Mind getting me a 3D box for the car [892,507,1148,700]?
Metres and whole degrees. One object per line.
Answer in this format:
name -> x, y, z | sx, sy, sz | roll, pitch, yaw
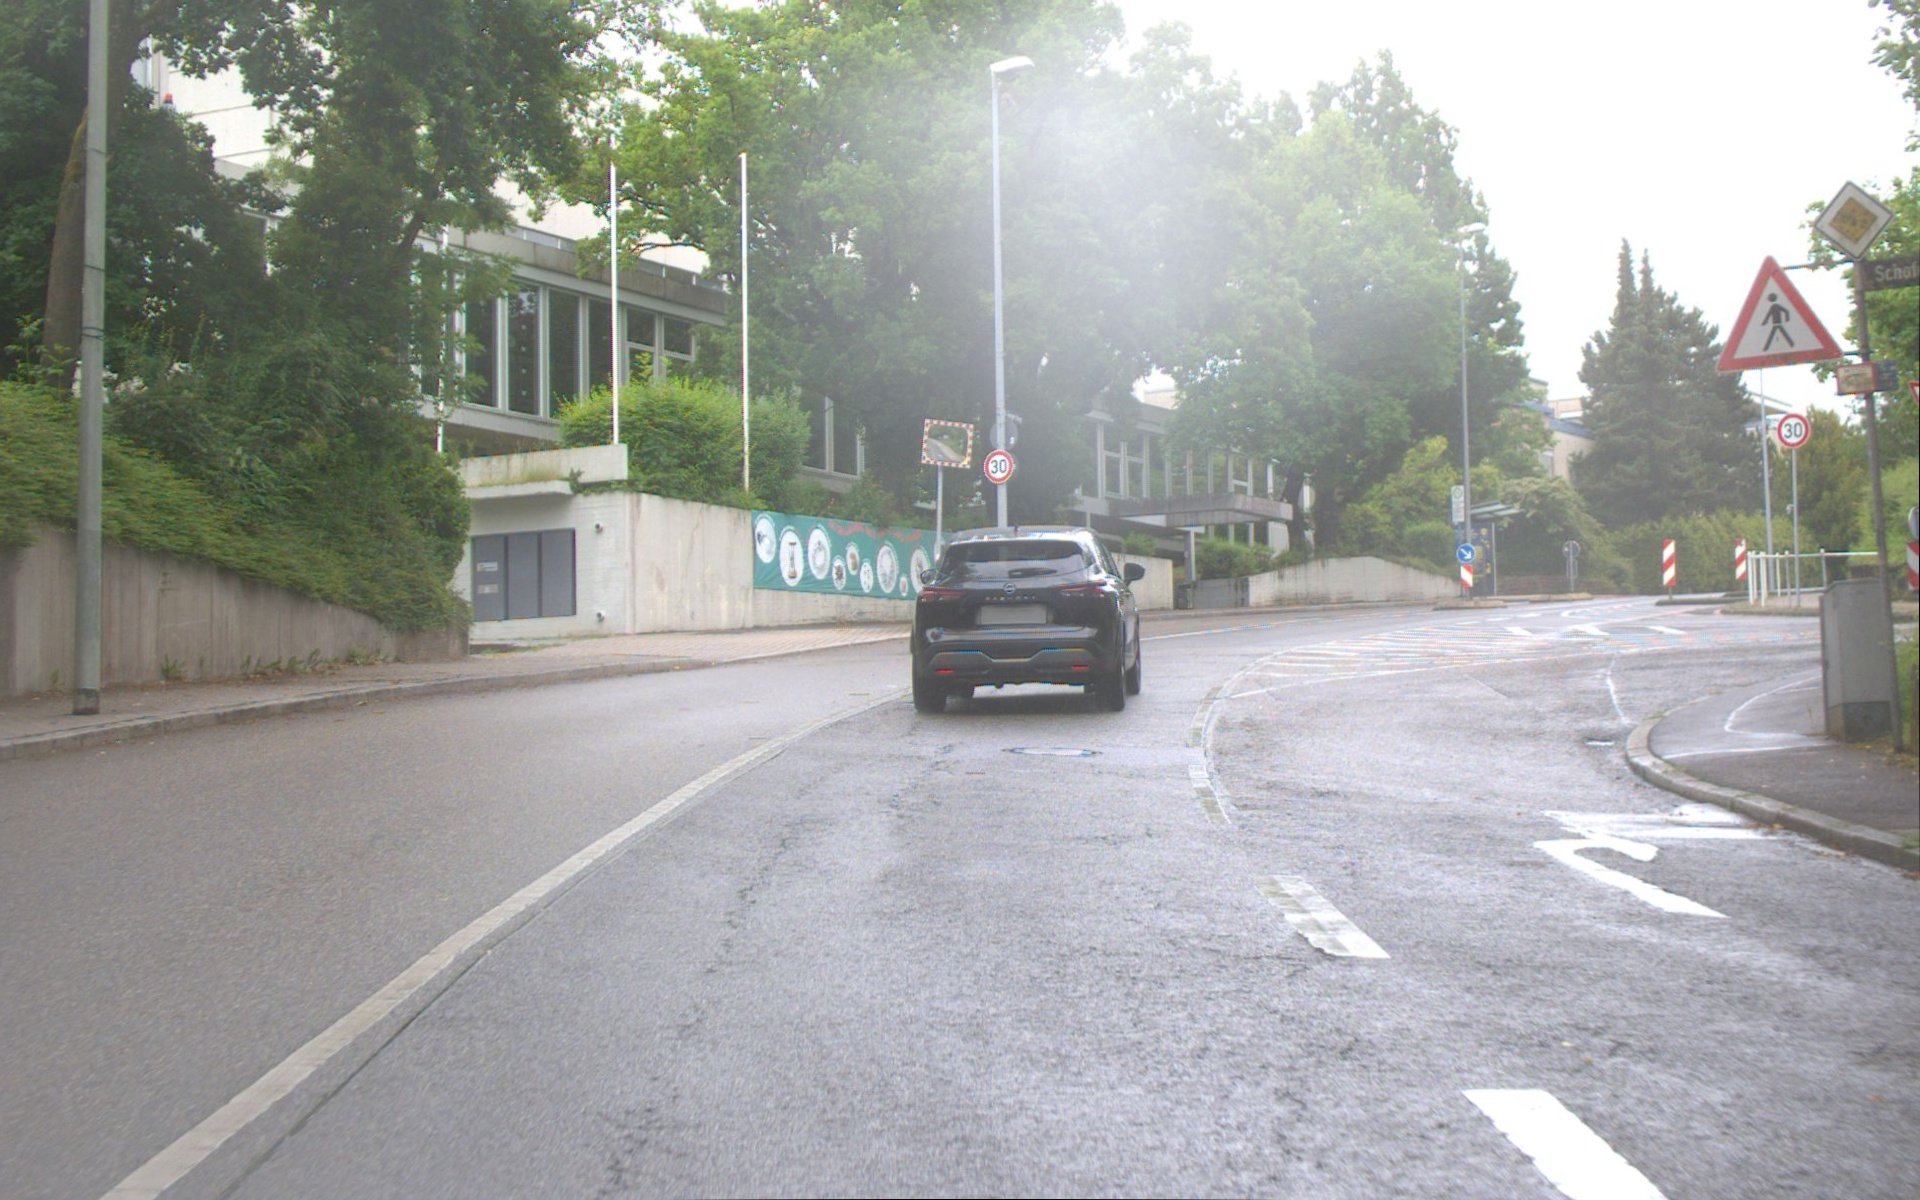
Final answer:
car -> 0.606, -0.013, 30.774 | 1.928, 1.607, 3.999 | 0, 1, 6
